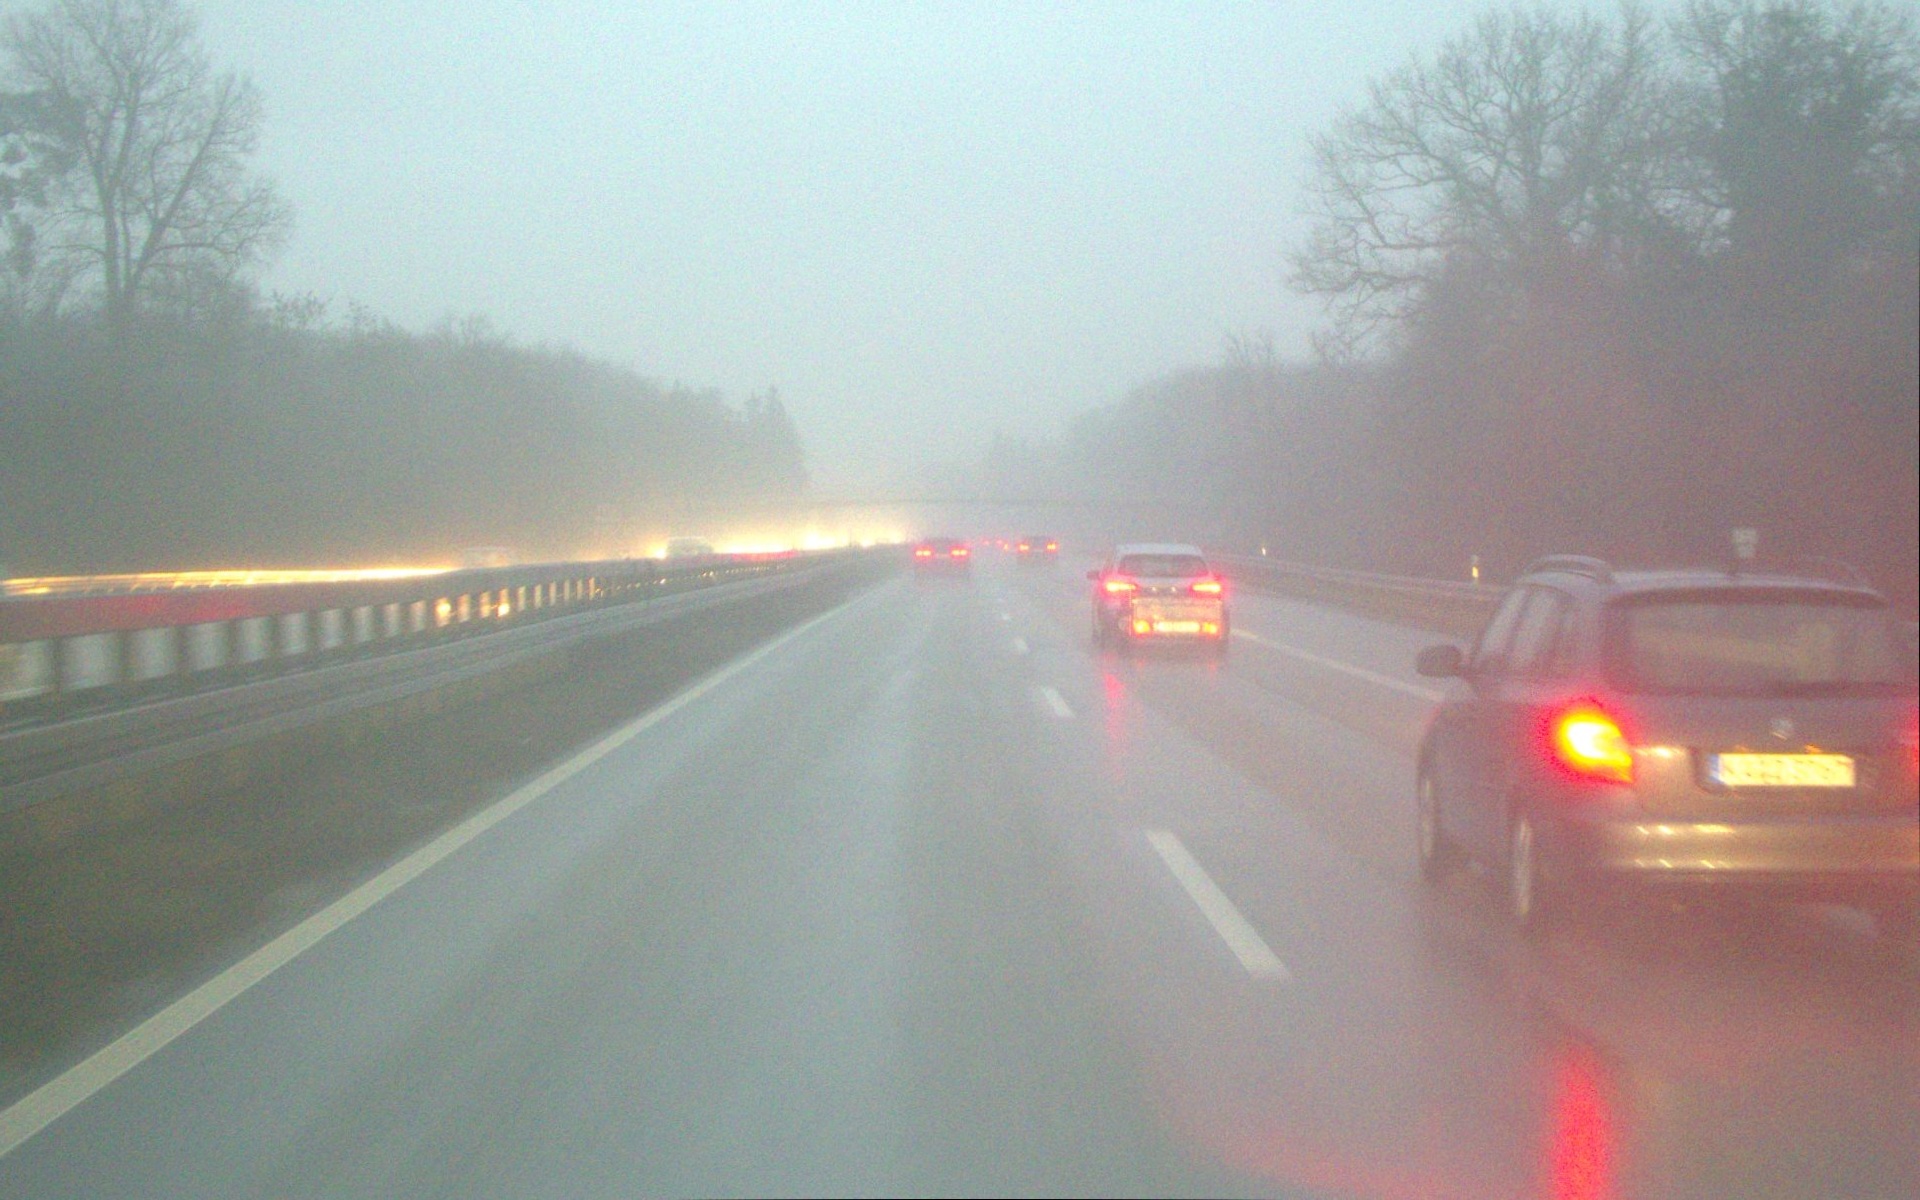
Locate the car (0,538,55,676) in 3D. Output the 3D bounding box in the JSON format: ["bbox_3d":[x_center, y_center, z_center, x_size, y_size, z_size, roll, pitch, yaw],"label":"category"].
[{"bbox_3d":[-11.869,0.076,39.338,1.797,1.565,4.754,0,1,0],"label":"car"}]

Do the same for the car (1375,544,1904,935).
[{"bbox_3d":[2.818,0.507,14.968,1.594,1.485,3.594,0,1,0],"label":"car"}]

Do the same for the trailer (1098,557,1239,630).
[{"bbox_3d":[2.853,-0.101,47.542,1.748,0.922,2.951,-1,1,0],"label":"trailer"}]
